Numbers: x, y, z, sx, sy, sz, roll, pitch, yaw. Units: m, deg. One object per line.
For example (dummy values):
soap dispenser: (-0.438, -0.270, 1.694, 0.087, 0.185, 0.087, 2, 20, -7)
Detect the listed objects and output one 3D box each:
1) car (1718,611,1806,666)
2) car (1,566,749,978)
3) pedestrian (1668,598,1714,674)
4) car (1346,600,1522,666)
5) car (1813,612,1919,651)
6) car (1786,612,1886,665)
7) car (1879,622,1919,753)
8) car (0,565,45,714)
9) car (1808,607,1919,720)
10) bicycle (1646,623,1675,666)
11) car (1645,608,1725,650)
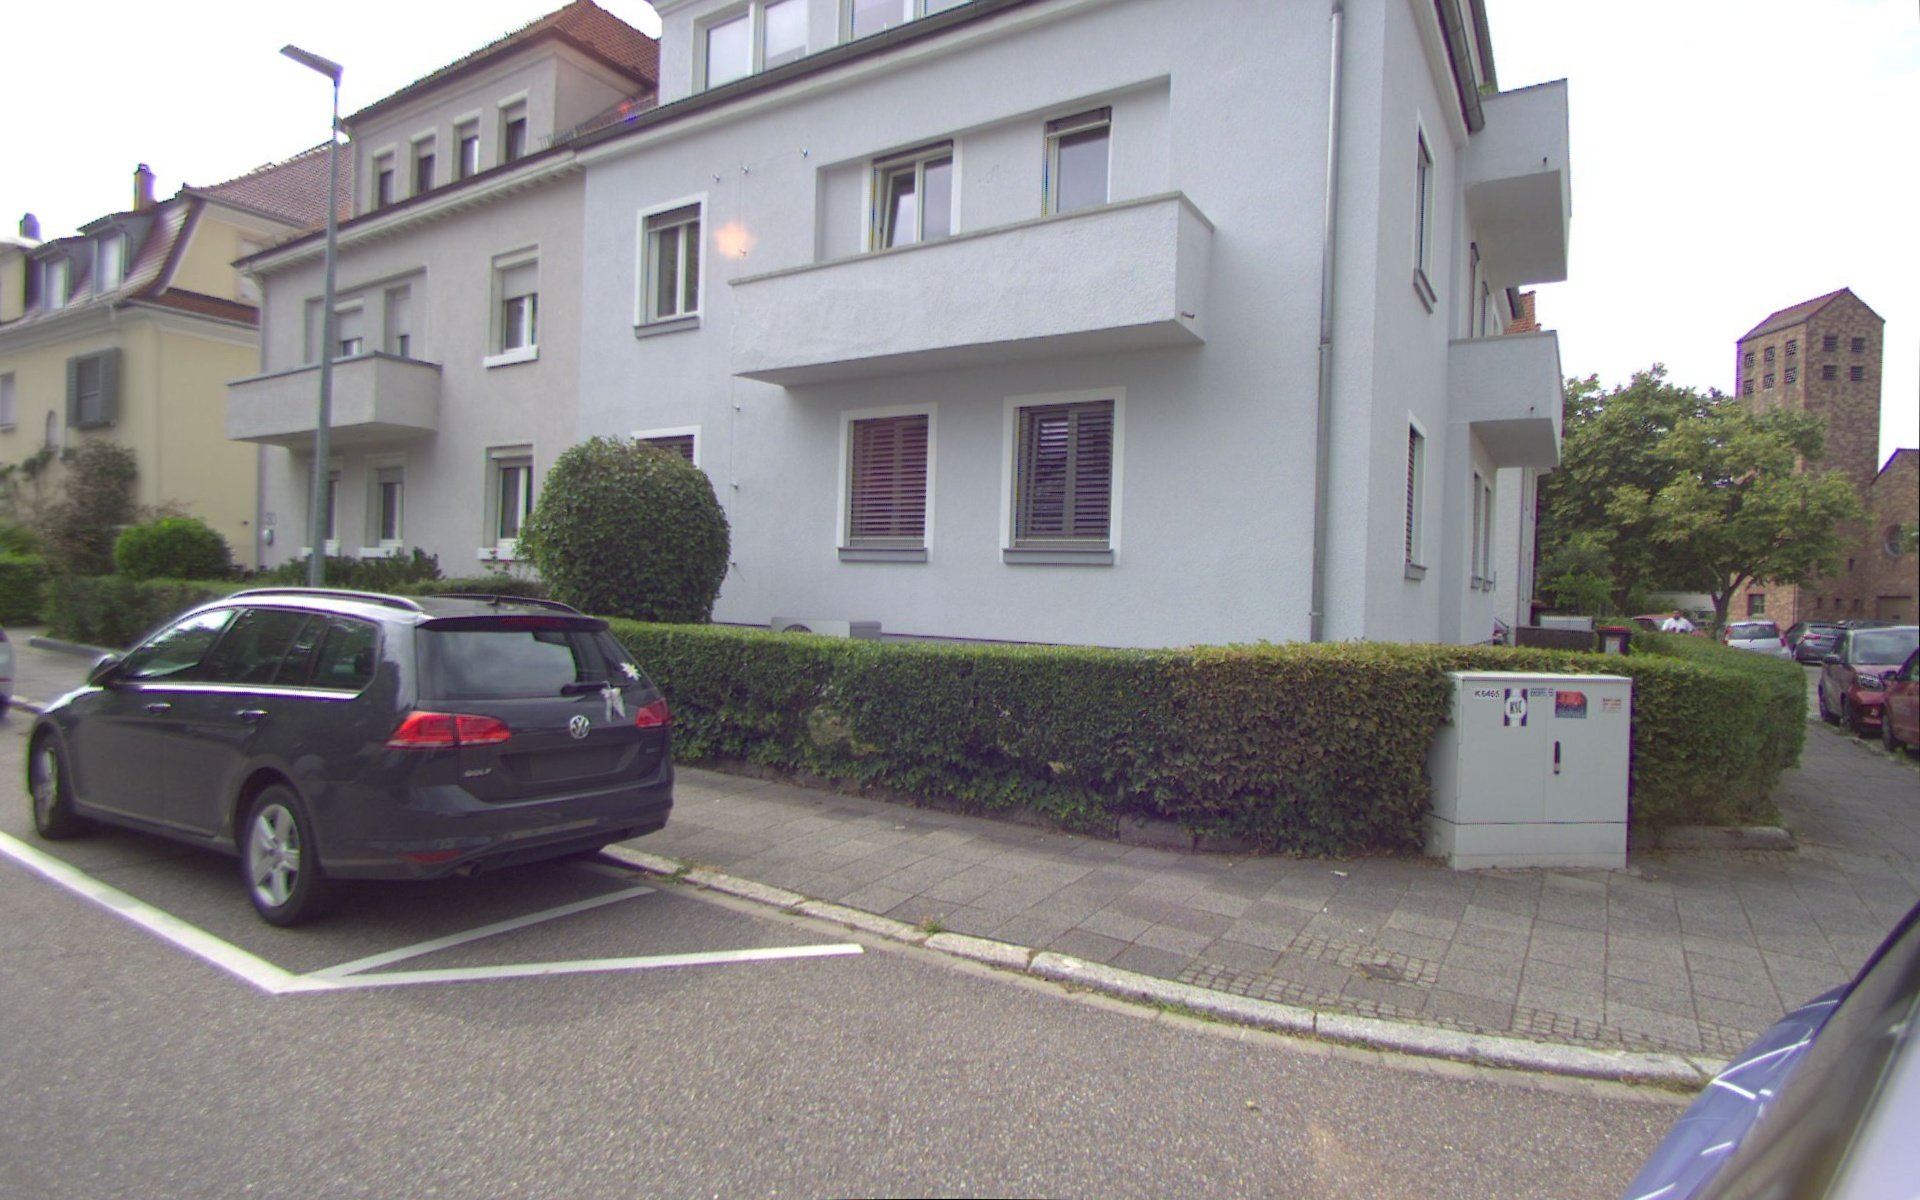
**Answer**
car: (24.019, 1.120, 30.418, 1.638, 1.515, 3.442, -2, -1, 32)
car: (-3.389, 0.622, 5.706, 4.140, 1.490, 1.840, 2, 1, 30)
pedestrian: (19.088, 0.919, 26.452, 0.878, 1.902, 1.066, 2, 0, 33)
car: (12.555, 0.822, 26.864, 3.973, 1.482, 1.976, 2, 1, 34)
car: (40.625, 1.379, 44.729, 4.197, 1.482, 1.665, 2, 2, 33)
car: (29.401, 1.241, 34.088, 1.841, 1.499, 3.995, 4, 2, 32)
car: (11.941, 1.024, 11.430, 1.638, 1.515, 3.442, -2, -1, 32)
car: (-11.677, 0.331, 10.880, 4.148, 1.490, 1.836, 2, 1, 35)
car: (14.109, 0.880, 15.137, 1.638, 1.515, 3.442, -2, -1, 32)
bicycle: (20.053, 1.258, 29.005, 0.419, 1.117, 2.094, 2, 1, 28)
car: (27.795, 1.099, 38.922, 1.631, 1.515, 3.456, -1, -1, 21)
